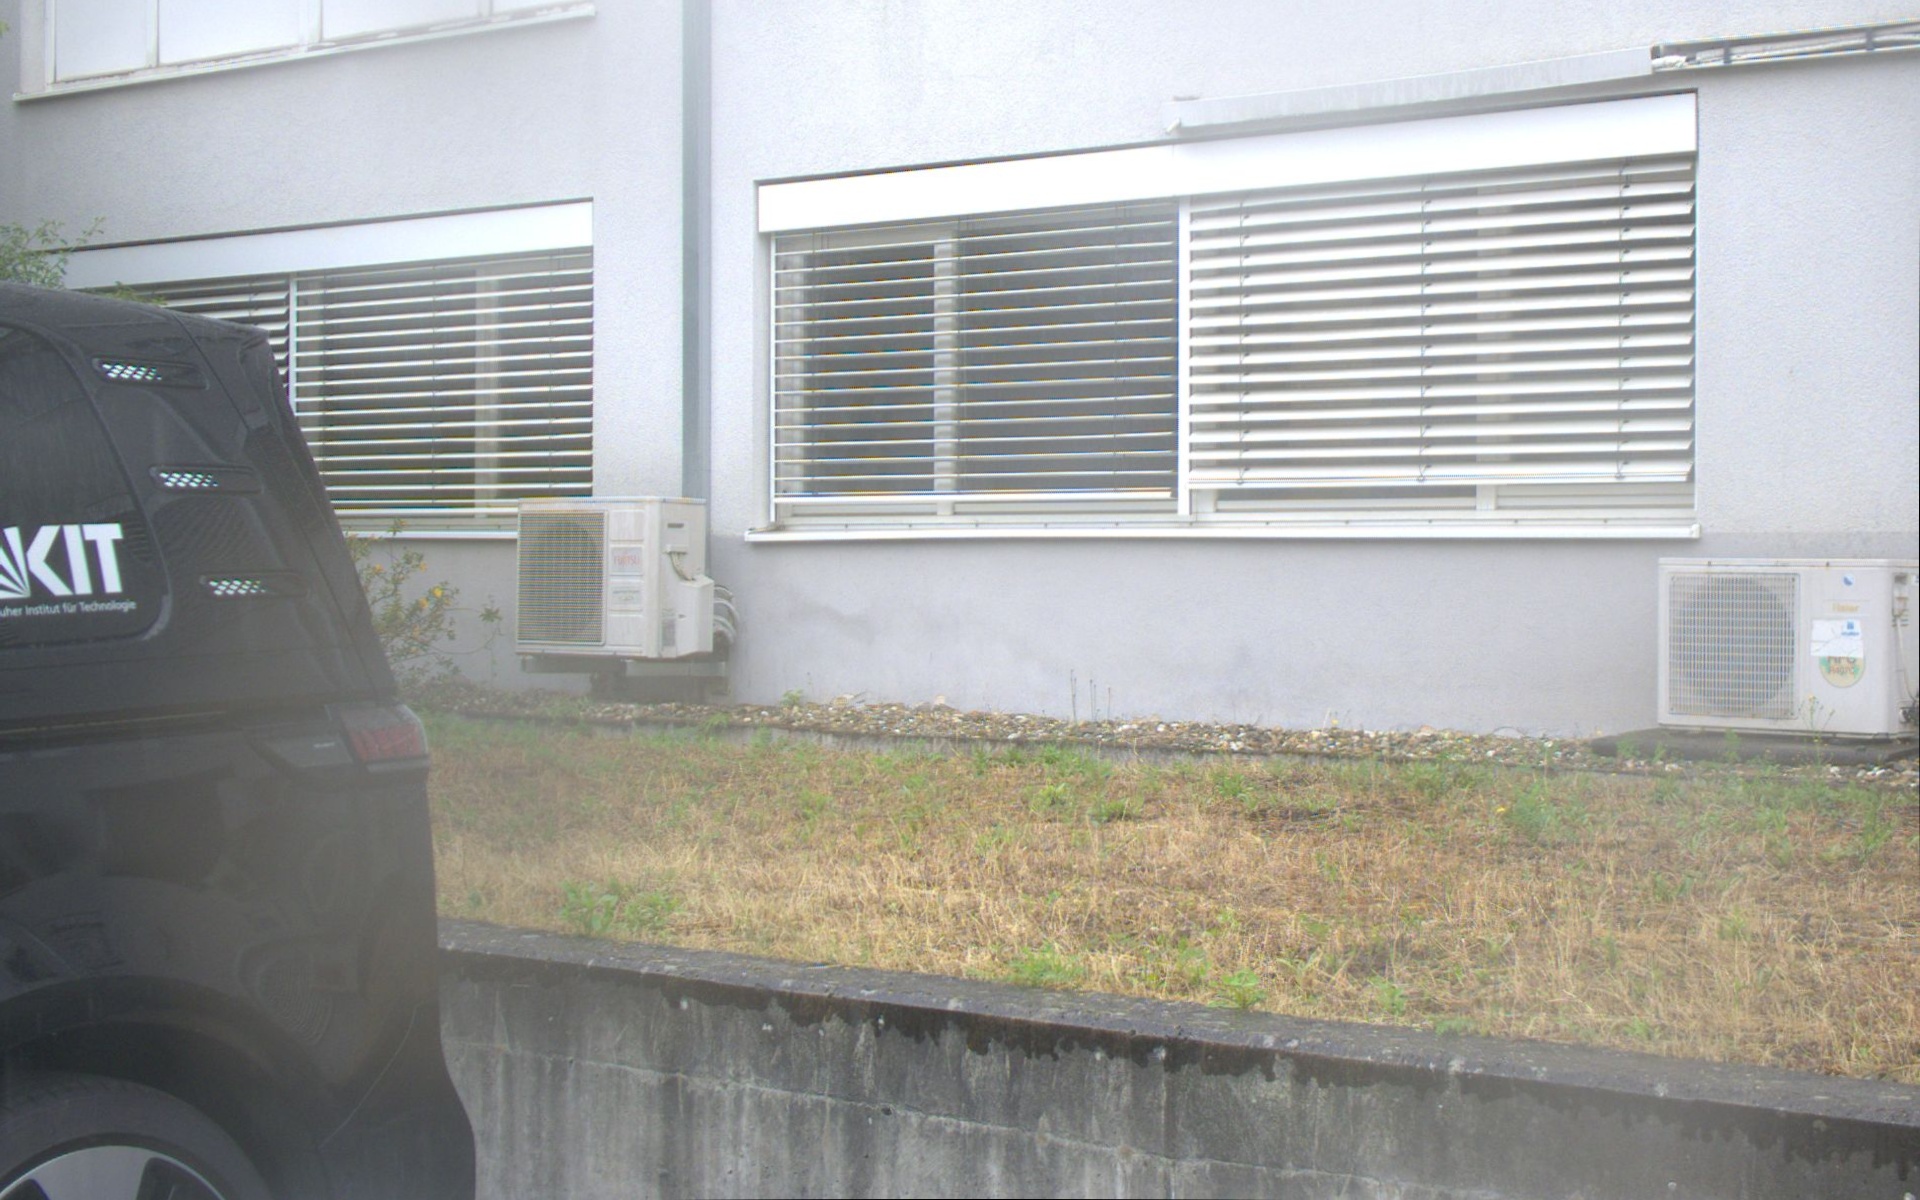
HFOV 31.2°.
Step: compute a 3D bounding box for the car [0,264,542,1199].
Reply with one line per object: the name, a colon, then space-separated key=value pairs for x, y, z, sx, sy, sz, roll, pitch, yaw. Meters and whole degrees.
car: x=-2.858 y=0.530 z=4.071 sx=2.044 sy=1.891 sz=4.512 roll=0 pitch=1 yaw=40
